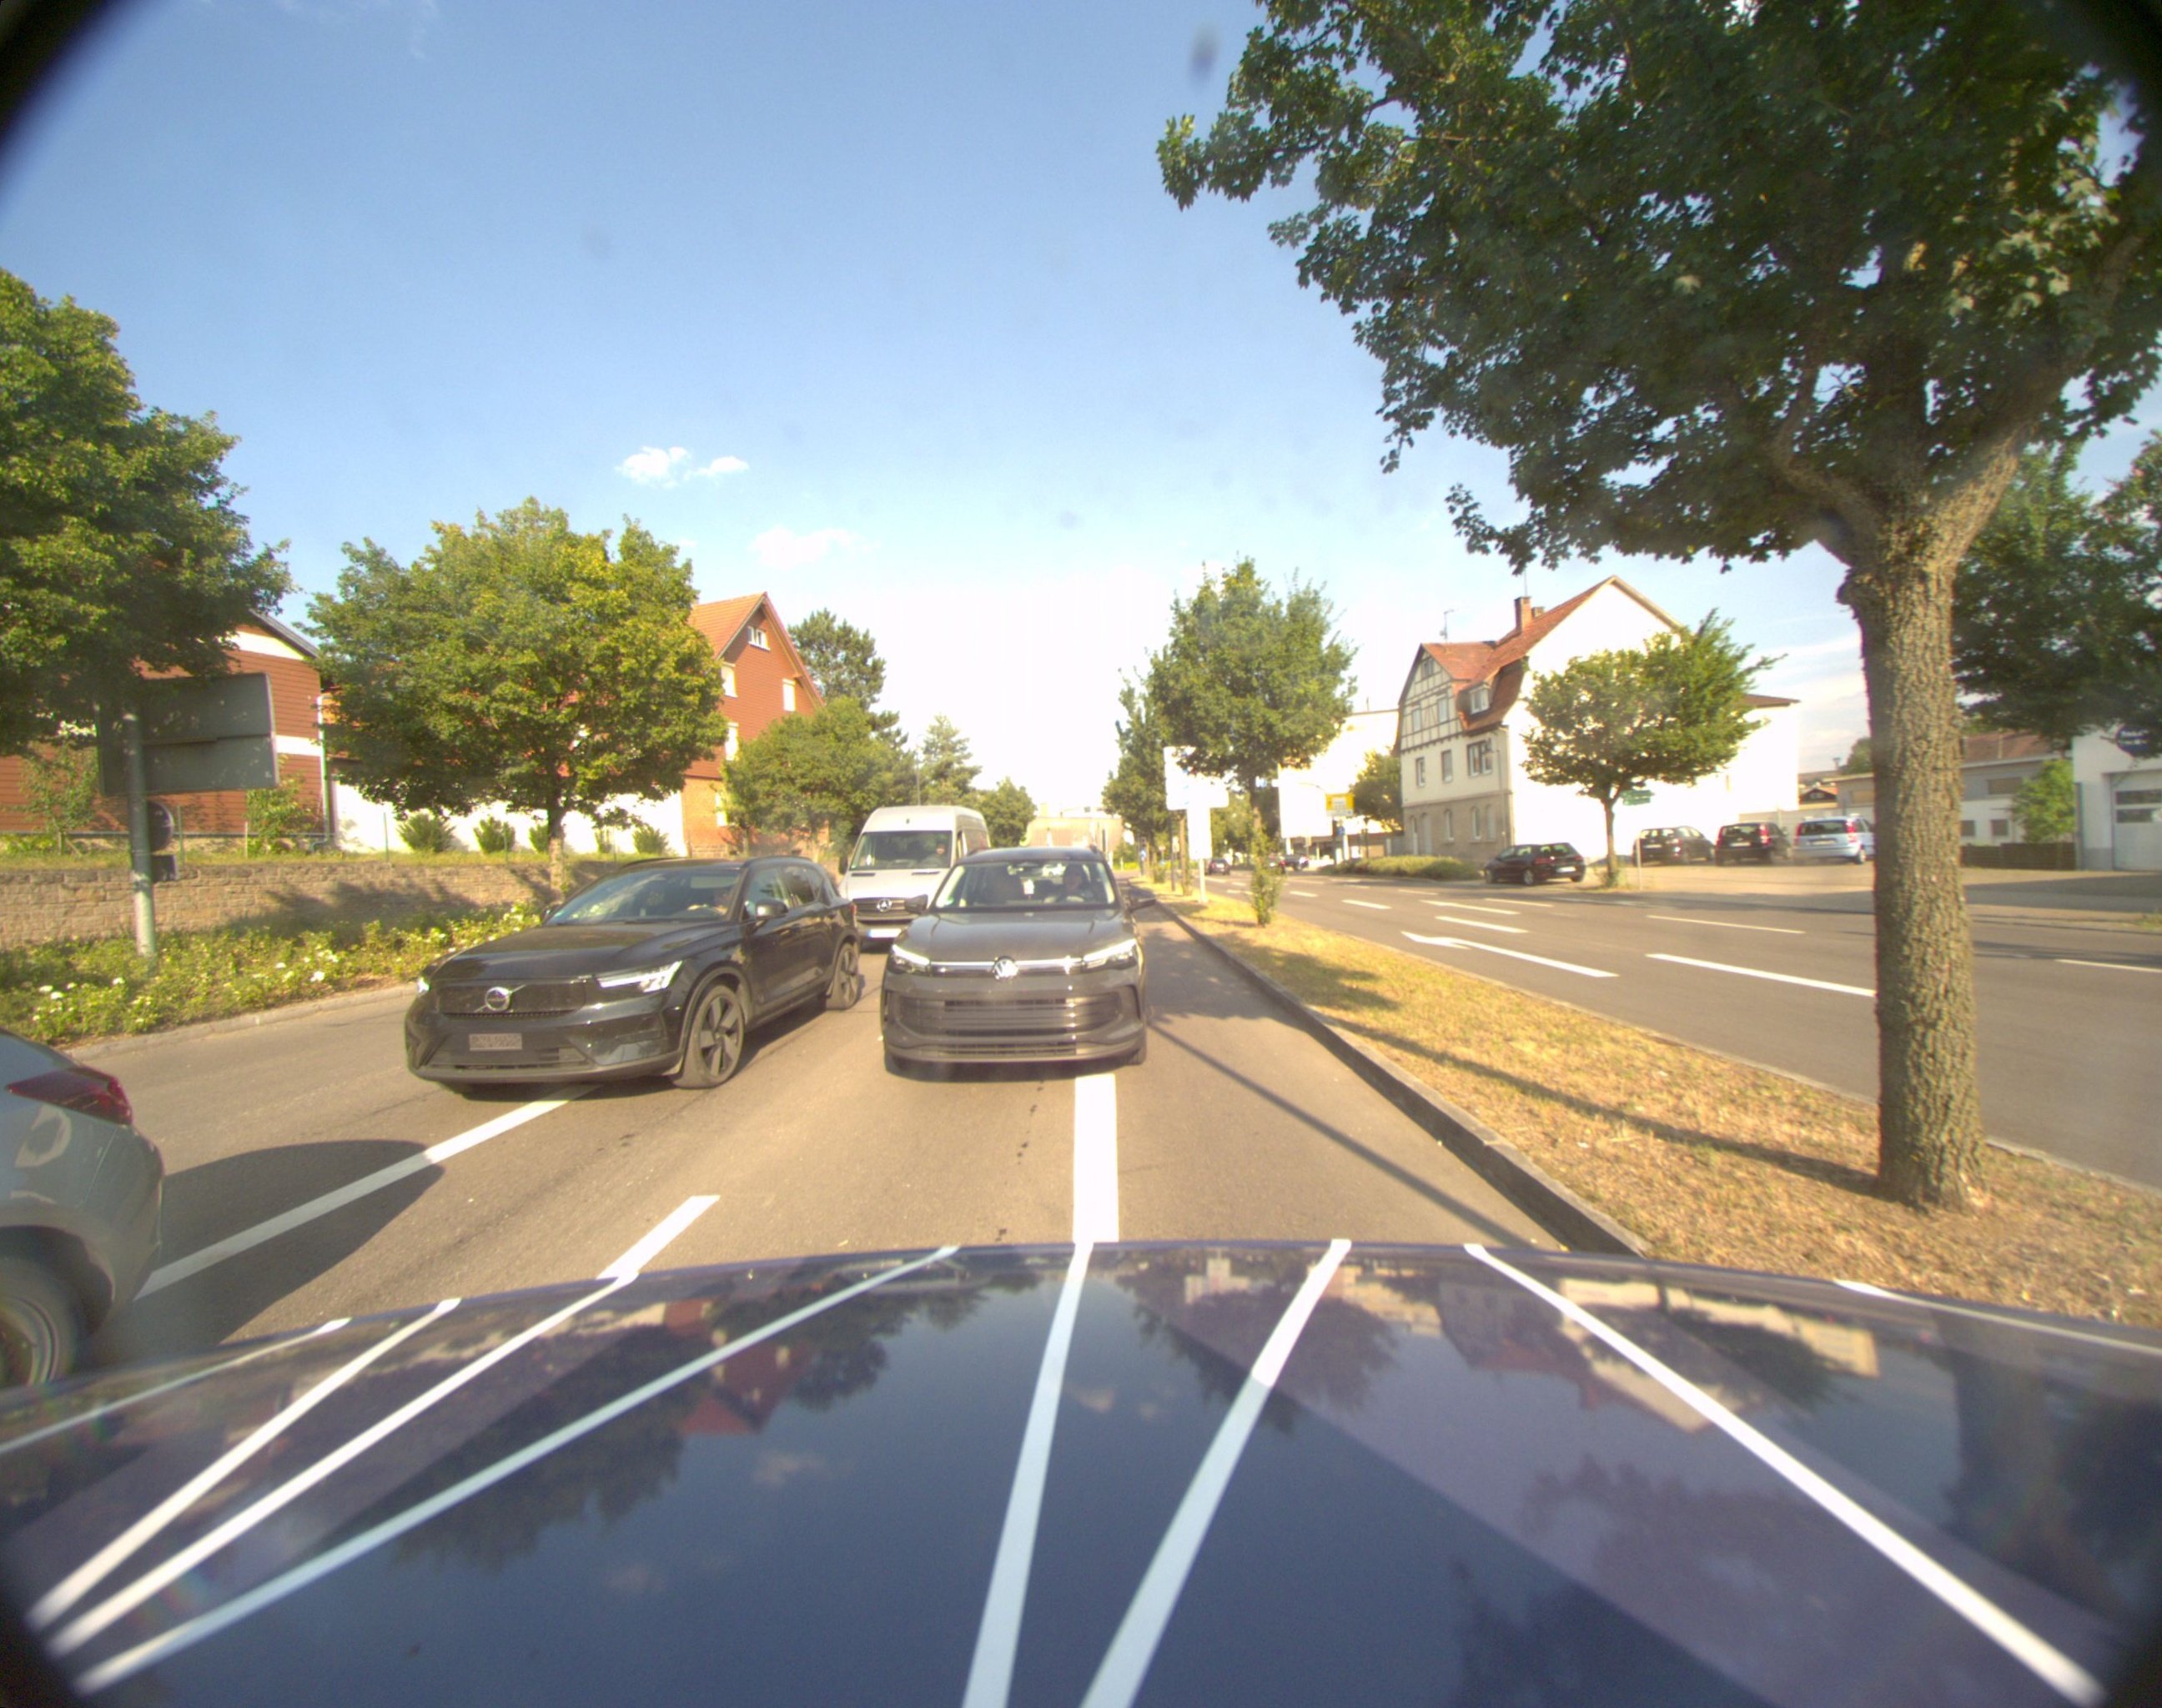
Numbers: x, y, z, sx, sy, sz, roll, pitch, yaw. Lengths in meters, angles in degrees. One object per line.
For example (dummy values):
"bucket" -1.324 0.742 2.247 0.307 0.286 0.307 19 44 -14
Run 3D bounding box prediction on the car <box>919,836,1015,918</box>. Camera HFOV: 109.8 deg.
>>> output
"car" -3.016 0.558 20.959 1.845 2.018 4.318 -1 0 2

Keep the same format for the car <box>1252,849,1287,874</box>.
"car" 13.929 0.523 56.311 1.781 1.683 4.001 -2 0 4

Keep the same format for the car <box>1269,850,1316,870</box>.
"car" 19.223 0.540 69.274 3.993 1.664 1.789 -2 1 12

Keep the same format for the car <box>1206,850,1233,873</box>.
"car" 11.149 0.573 61.360 1.780 1.683 4.002 -2 0 7

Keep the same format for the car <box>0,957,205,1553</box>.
"car" -3.614 1.060 0.188 1.766 1.445 4.318 -1 0 0

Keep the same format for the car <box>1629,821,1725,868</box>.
"car" 23.378 -0.394 29.760 3.830 1.493 1.816 -5 0 -35

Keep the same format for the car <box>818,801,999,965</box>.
"car" -3.038 0.445 14.964 1.992 2.554 6.046 -1 0 2

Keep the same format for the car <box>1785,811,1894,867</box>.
"car" 24.878 -0.505 24.897 3.830 1.493 1.816 -5 0 -35

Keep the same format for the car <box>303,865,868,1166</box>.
"car" -3.400 0.946 6.436 1.845 1.600 4.318 -1 0 2

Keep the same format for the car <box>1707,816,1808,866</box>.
"car" 24.656 -0.492 27.663 3.830 1.493 1.816 -5 0 -35

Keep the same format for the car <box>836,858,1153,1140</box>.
"car" -0.452 0.871 6.624 1.845 1.600 4.318 -1 0 2

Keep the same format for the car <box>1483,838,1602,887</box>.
"car" 16.032 0.278 26.625 1.818 1.442 3.825 -5 0 1
